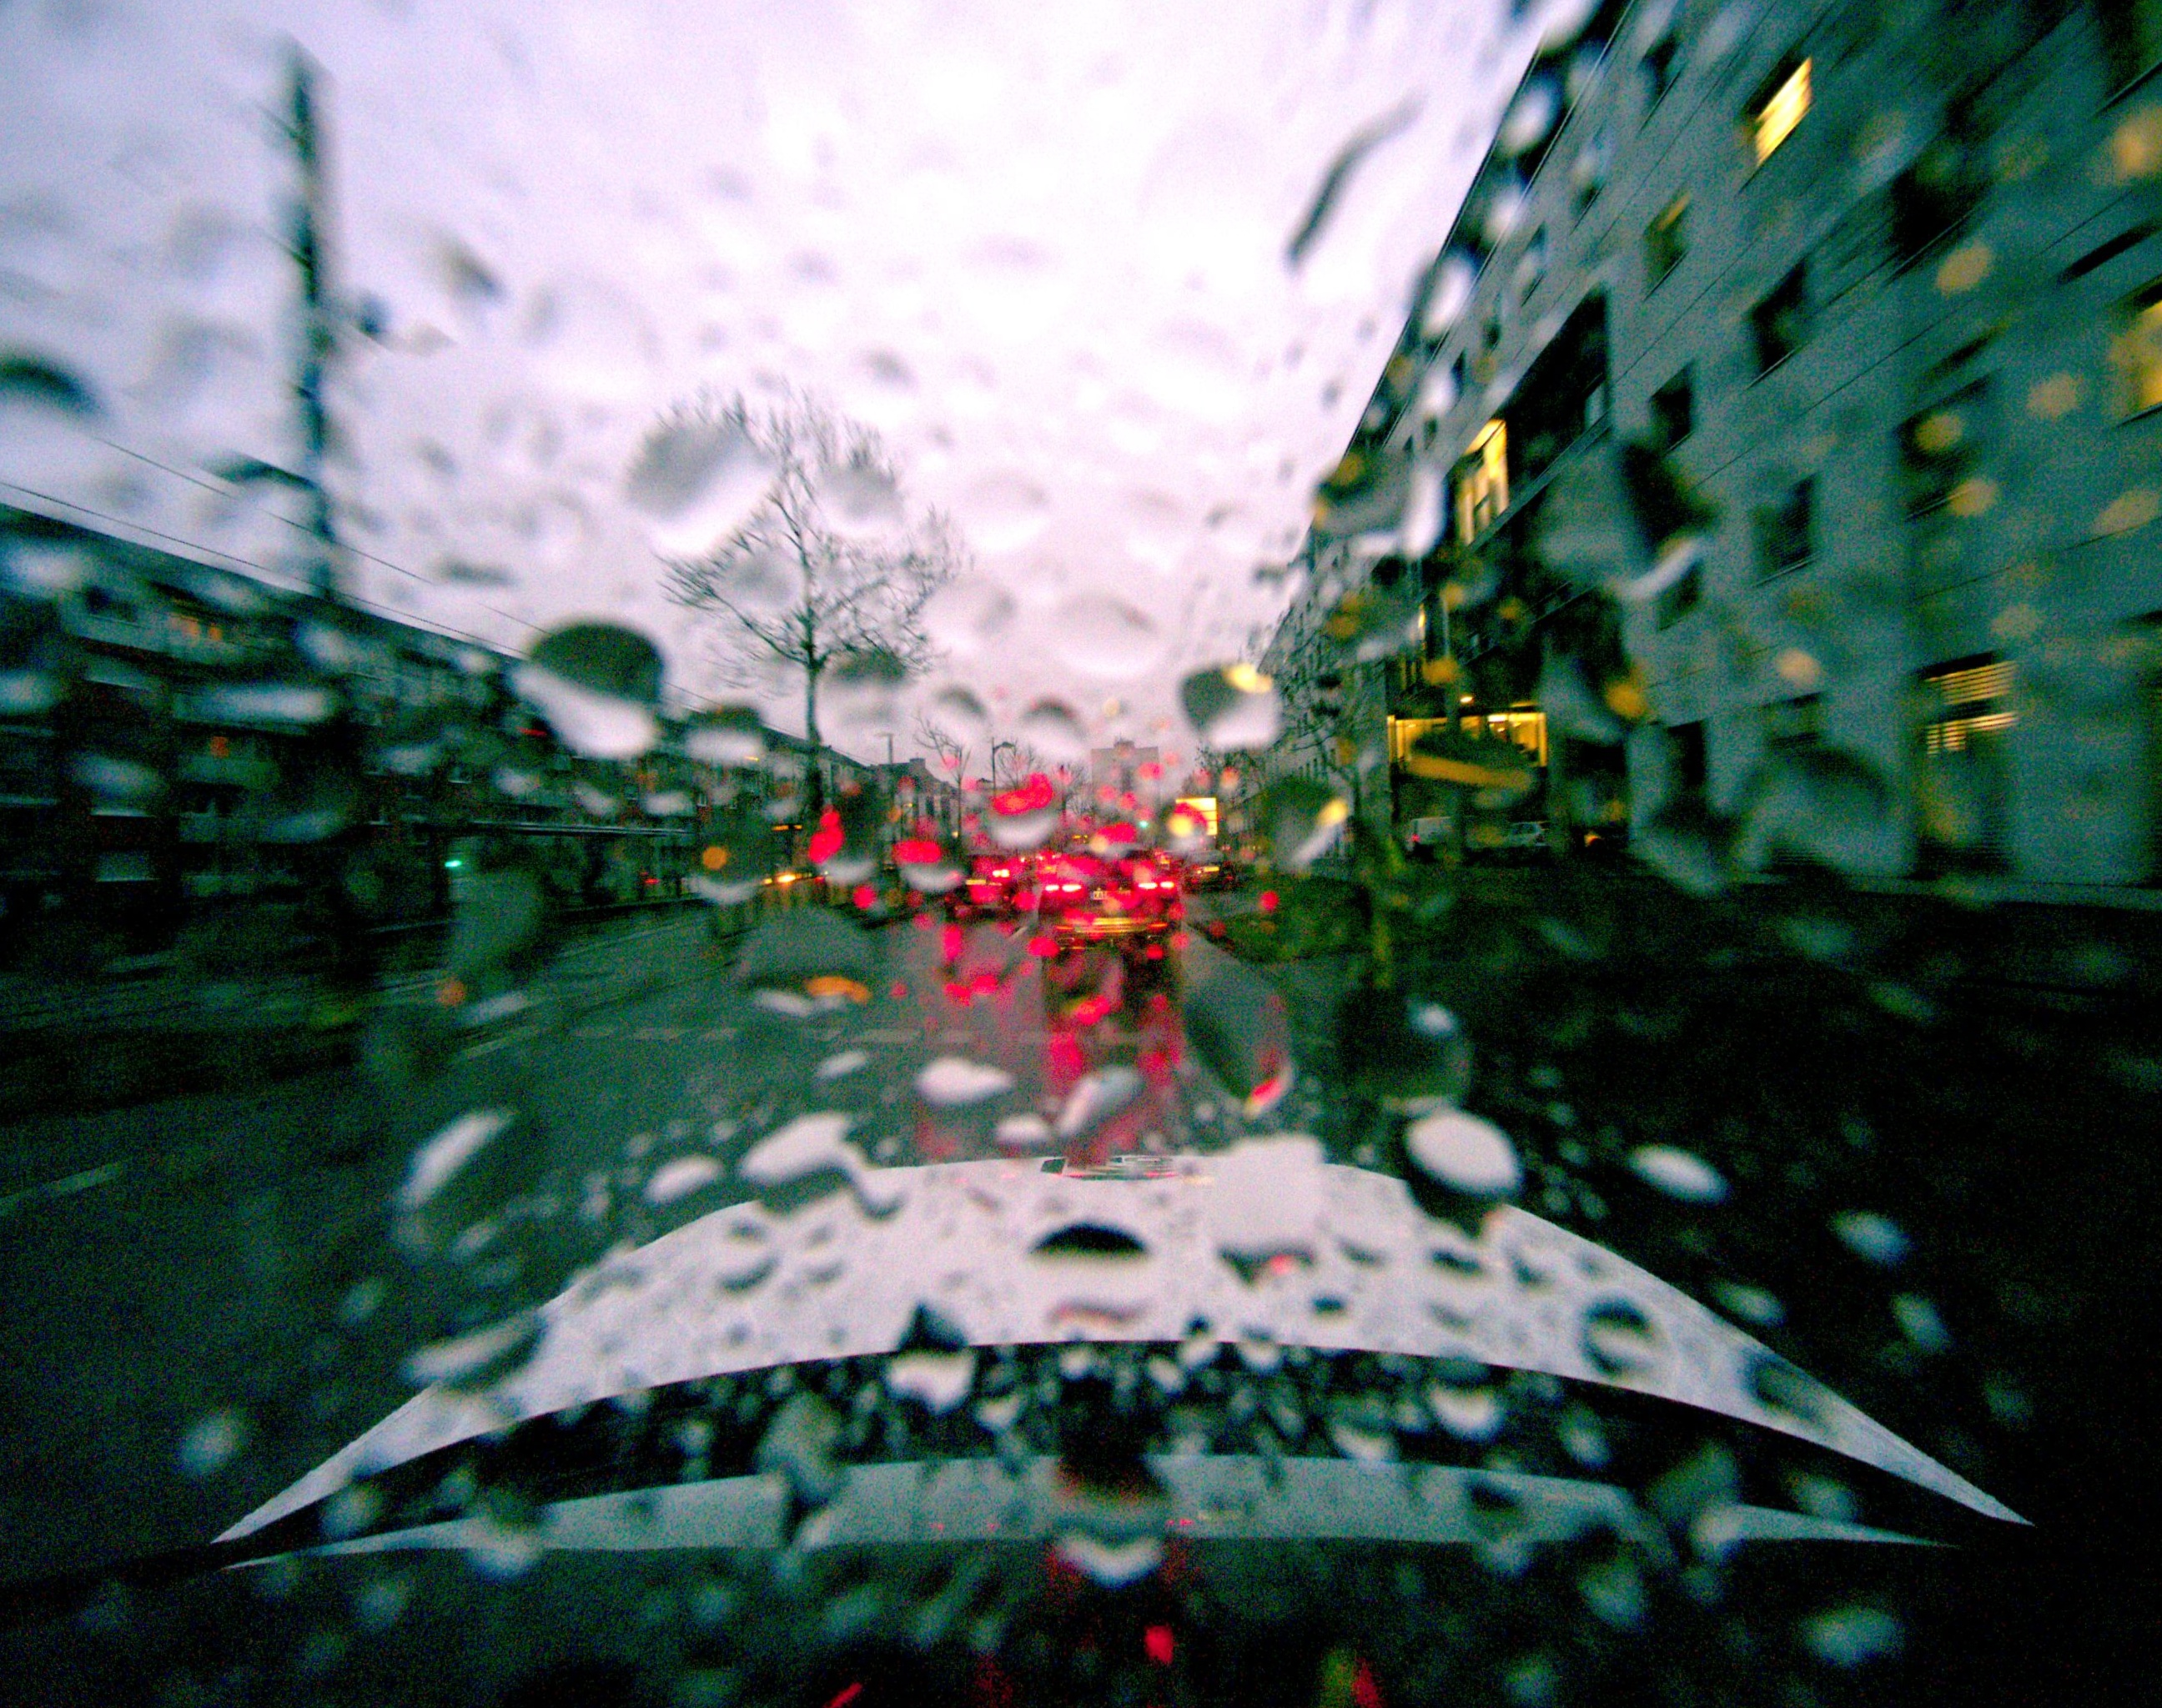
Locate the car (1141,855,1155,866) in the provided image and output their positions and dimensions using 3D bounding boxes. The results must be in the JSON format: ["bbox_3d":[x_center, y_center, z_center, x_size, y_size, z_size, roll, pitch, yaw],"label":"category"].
[{"bbox_3d":[9.283,0.940,113.113,1.761,1.502,3.375,-1,-1,8],"label":"car"}]

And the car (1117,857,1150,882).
[{"bbox_3d":[3.198,0.893,48.907,1.878,1.353,4.107,-1,0,5],"label":"car"}]

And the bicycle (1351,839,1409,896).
[{"bbox_3d":[6.401,0.298,17.527,0.548,1.115,2.169,-4,-1,5],"label":"bicycle"}]

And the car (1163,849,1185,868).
[{"bbox_3d":[8.772,0.457,77.021,1.983,1.691,3.534,-1,-1,6],"label":"car"}]

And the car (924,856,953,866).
[{"bbox_3d":[-20.443,1.075,116.848,3.785,1.366,1.698,-1,-1,0],"label":"car"}]

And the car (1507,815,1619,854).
[{"bbox_3d":[21.716,-0.858,36.828,3.961,1.518,1.663,-3,0,11],"label":"car"}]

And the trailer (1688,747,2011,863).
[{"bbox_3d":[19.804,-1.216,21.218,6.236,2.581,2.210,-3,0,0],"label":"trailer"}]

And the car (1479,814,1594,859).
[{"bbox_3d":[15.741,-0.539,28.419,1.625,1.371,4.533,-1,-1,3],"label":"car"}]

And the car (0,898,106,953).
[{"bbox_3d":[-30.553,2.023,22.975,3.975,1.416,1.711,-1,-1,-1],"label":"car"}]

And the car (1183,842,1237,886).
[{"bbox_3d":[4.596,0.359,29.359,1.588,1.440,4.233,-1,-1,5],"label":"car"}]

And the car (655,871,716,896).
[{"bbox_3d":[-26.047,1.909,53.741,1.717,1.544,4.155,-1,-1,4],"label":"car"}]

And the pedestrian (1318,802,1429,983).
[{"bbox_3d":[3.156,0.406,8.846,0.768,1.808,0.699,-6,-2,1],"label":"pedestrian"}]

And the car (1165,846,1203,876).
[{"bbox_3d":[5.165,0.331,41.080,1.745,1.403,4.257,-1,0,6],"label":"car"}]

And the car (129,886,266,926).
[{"bbox_3d":[-36.724,2.133,33.965,1.701,1.496,3.509,-1,-1,7],"label":"car"}]

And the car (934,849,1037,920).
[{"bbox_3d":[-2.457,0.767,22.071,1.985,1.712,4.328,-1,-1,4],"label":"car"}]

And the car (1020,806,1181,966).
[{"bbox_3d":[0.326,0.433,12.218,1.986,1.976,4.070,-1,-1,2],"label":"car"}]

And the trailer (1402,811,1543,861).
[{"bbox_3d":[16.693,-0.766,34.954,5.036,1.911,2.136,-2,1,10],"label":"trailer"}]

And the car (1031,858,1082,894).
[{"bbox_3d":[-1.112,1.024,38.833,1.984,1.642,4.027,-1,-1,5],"label":"car"}]

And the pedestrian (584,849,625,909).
[{"bbox_3d":[-16.644,0.861,28.440,1.146,2.014,0.951,0,-1,-38],"label":"pedestrian"}]
